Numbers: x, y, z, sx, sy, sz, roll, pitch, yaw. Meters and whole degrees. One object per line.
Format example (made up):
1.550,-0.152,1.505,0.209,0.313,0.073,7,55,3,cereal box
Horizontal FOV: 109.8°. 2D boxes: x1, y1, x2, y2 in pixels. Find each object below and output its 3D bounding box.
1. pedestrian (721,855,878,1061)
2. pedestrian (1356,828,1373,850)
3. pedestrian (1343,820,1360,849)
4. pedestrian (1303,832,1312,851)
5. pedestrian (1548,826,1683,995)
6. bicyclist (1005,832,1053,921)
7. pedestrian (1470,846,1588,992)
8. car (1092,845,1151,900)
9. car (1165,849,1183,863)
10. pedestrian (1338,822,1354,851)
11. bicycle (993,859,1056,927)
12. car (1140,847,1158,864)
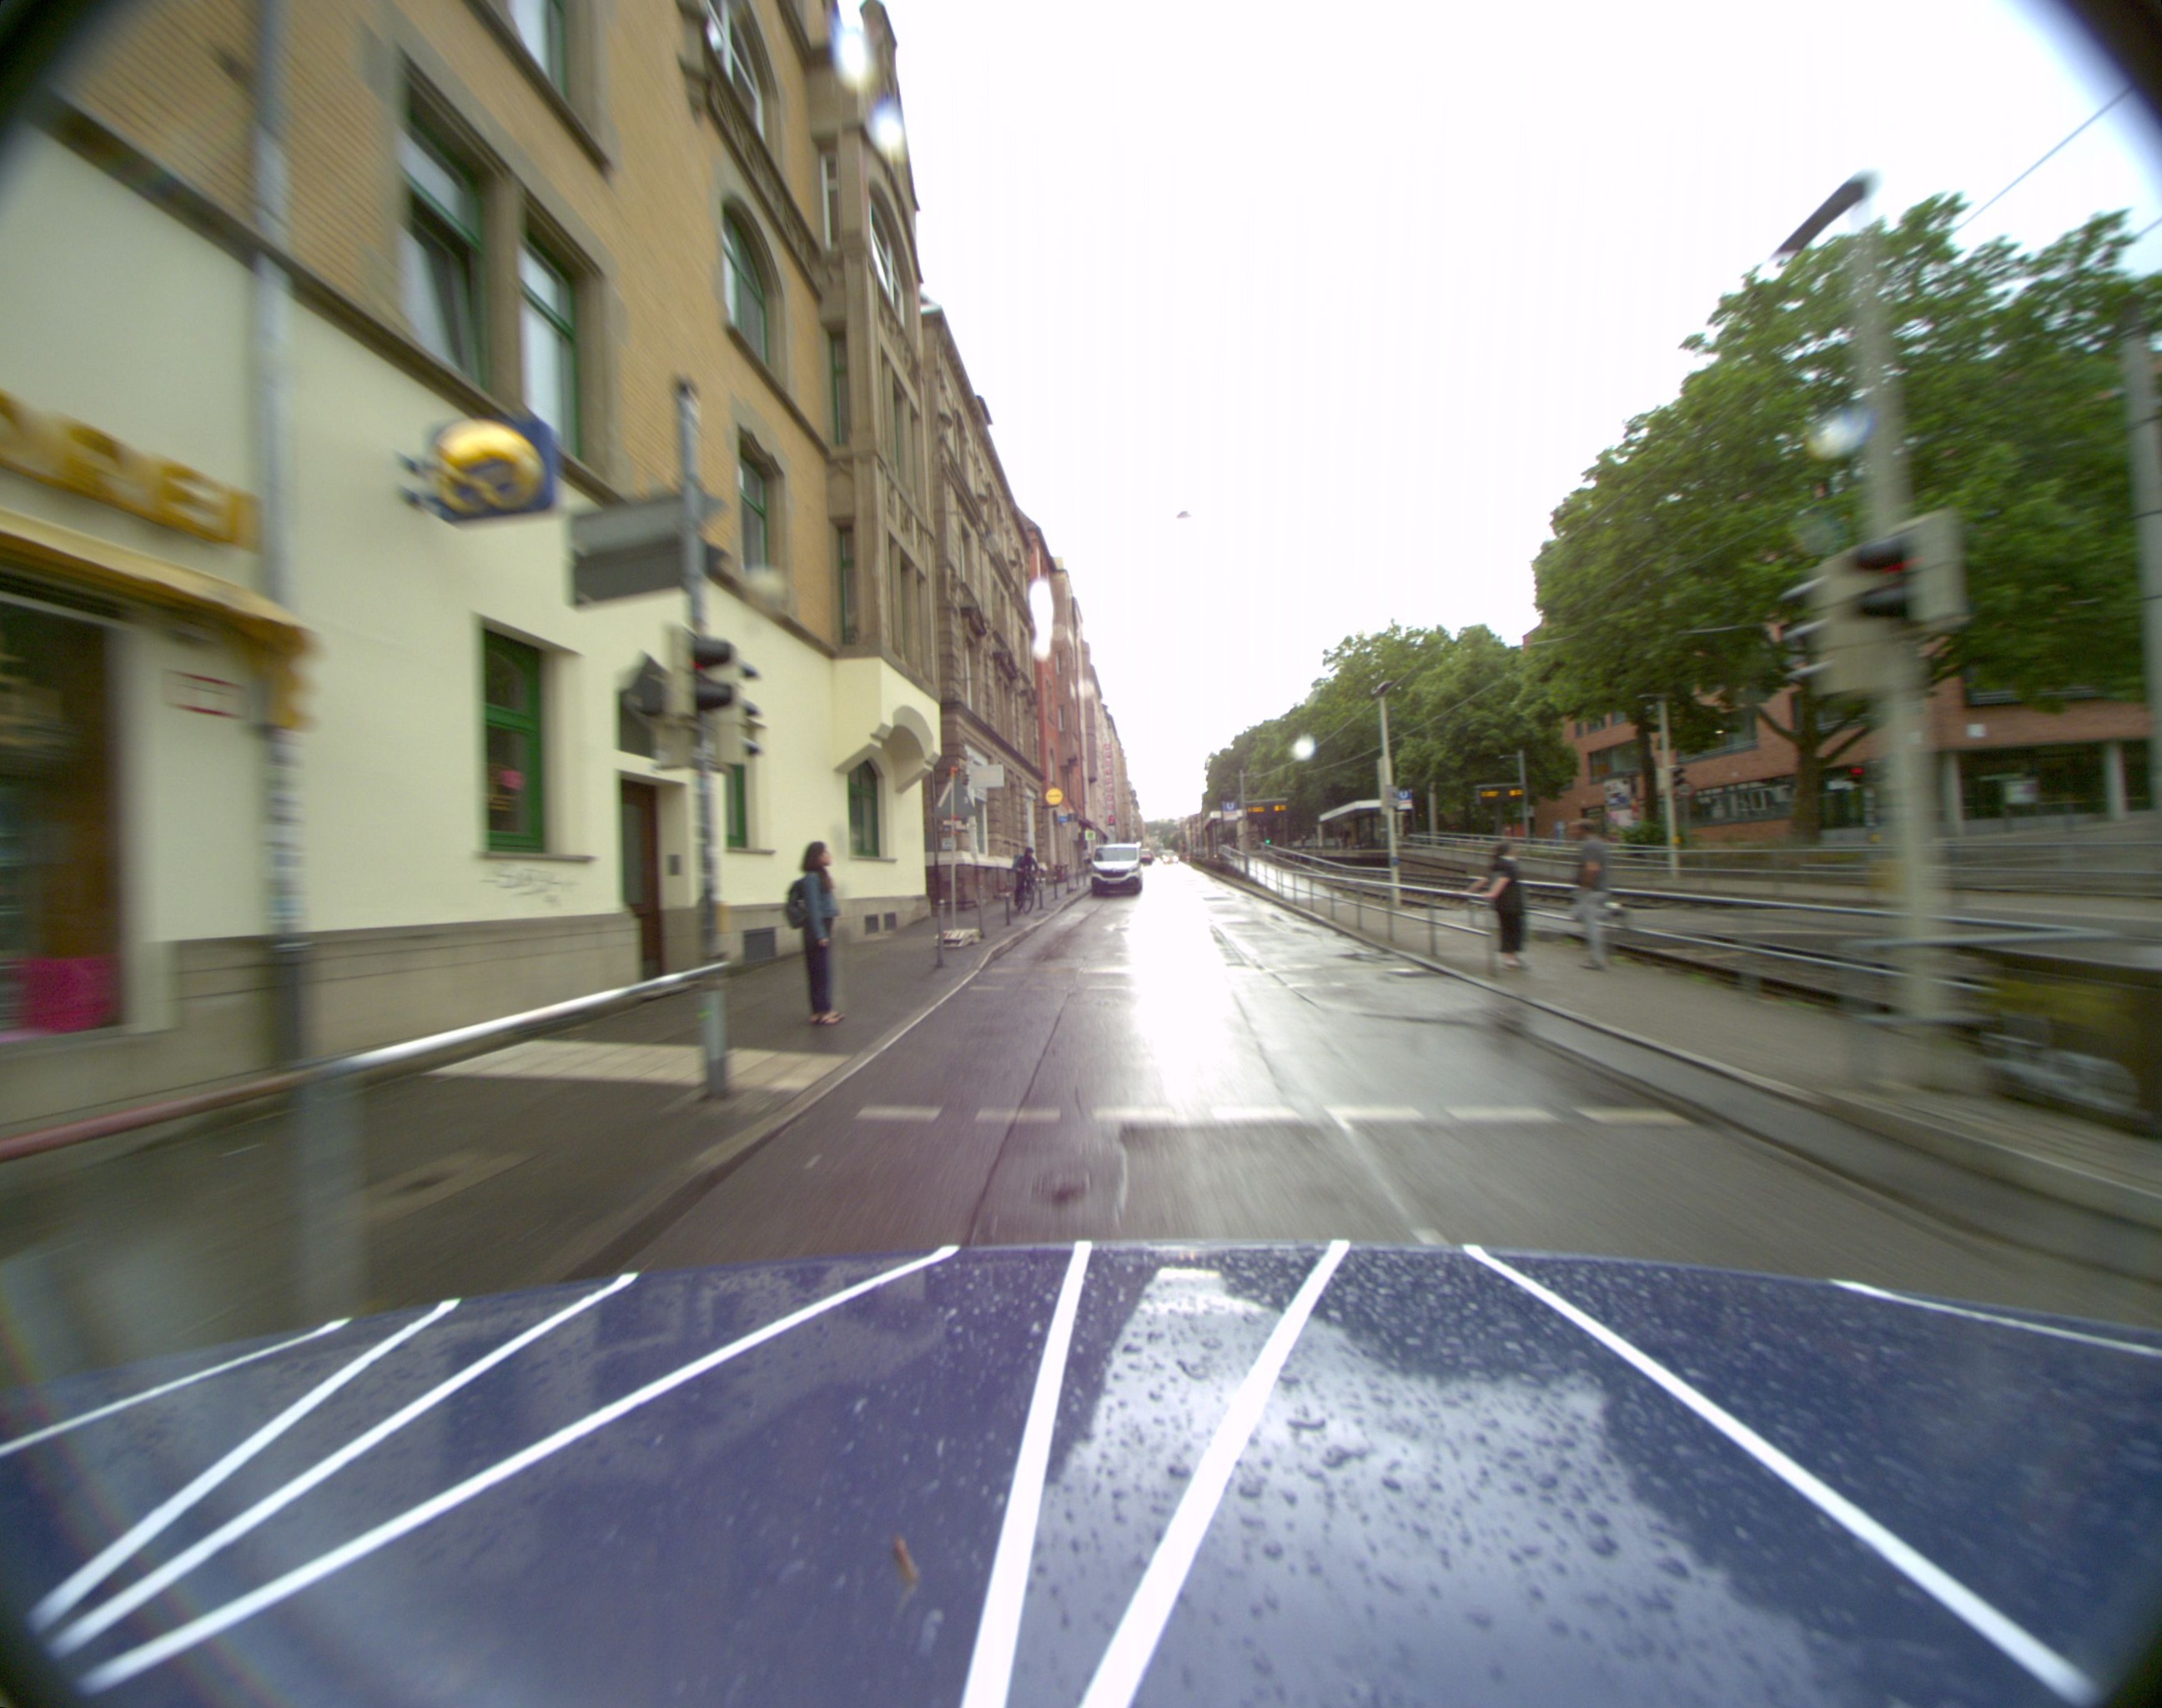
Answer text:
-2.515,0.878,6.896,1.019,1.711,0.931,1,1,7,pedestrian
19.216,-1.022,51.508,0.781,1.474,0.884,-2,1,2,pedestrian
19.611,-1.421,55.079,0.836,2.050,0.884,-2,1,2,pedestrian
21.521,-1.227,72.262,0.676,1.780,0.703,-1,1,6,pedestrian
6.044,0.609,8.652,0.827,1.788,1.001,-2,1,4,pedestrian
-1.348,0.572,19.927,0.920,2.250,1.288,-2,1,7,bicyclist
5.218,0.723,8.921,0.836,1.595,1.002,-2,1,8,pedestrian
1.772,0.665,31.249,1.824,1.893,5.993,-5,0,7,car
10.424,0.244,85.315,1.883,1.439,4.001,-2,1,5,car
19.644,-1.299,56.368,0.836,2.050,0.884,-2,1,2,pedestrian
-1.399,0.941,19.723,0.936,1.545,3.136,-3,0,7,bicycle
7.855,0.161,87.749,1.883,1.838,4.000,-2,1,3,car
